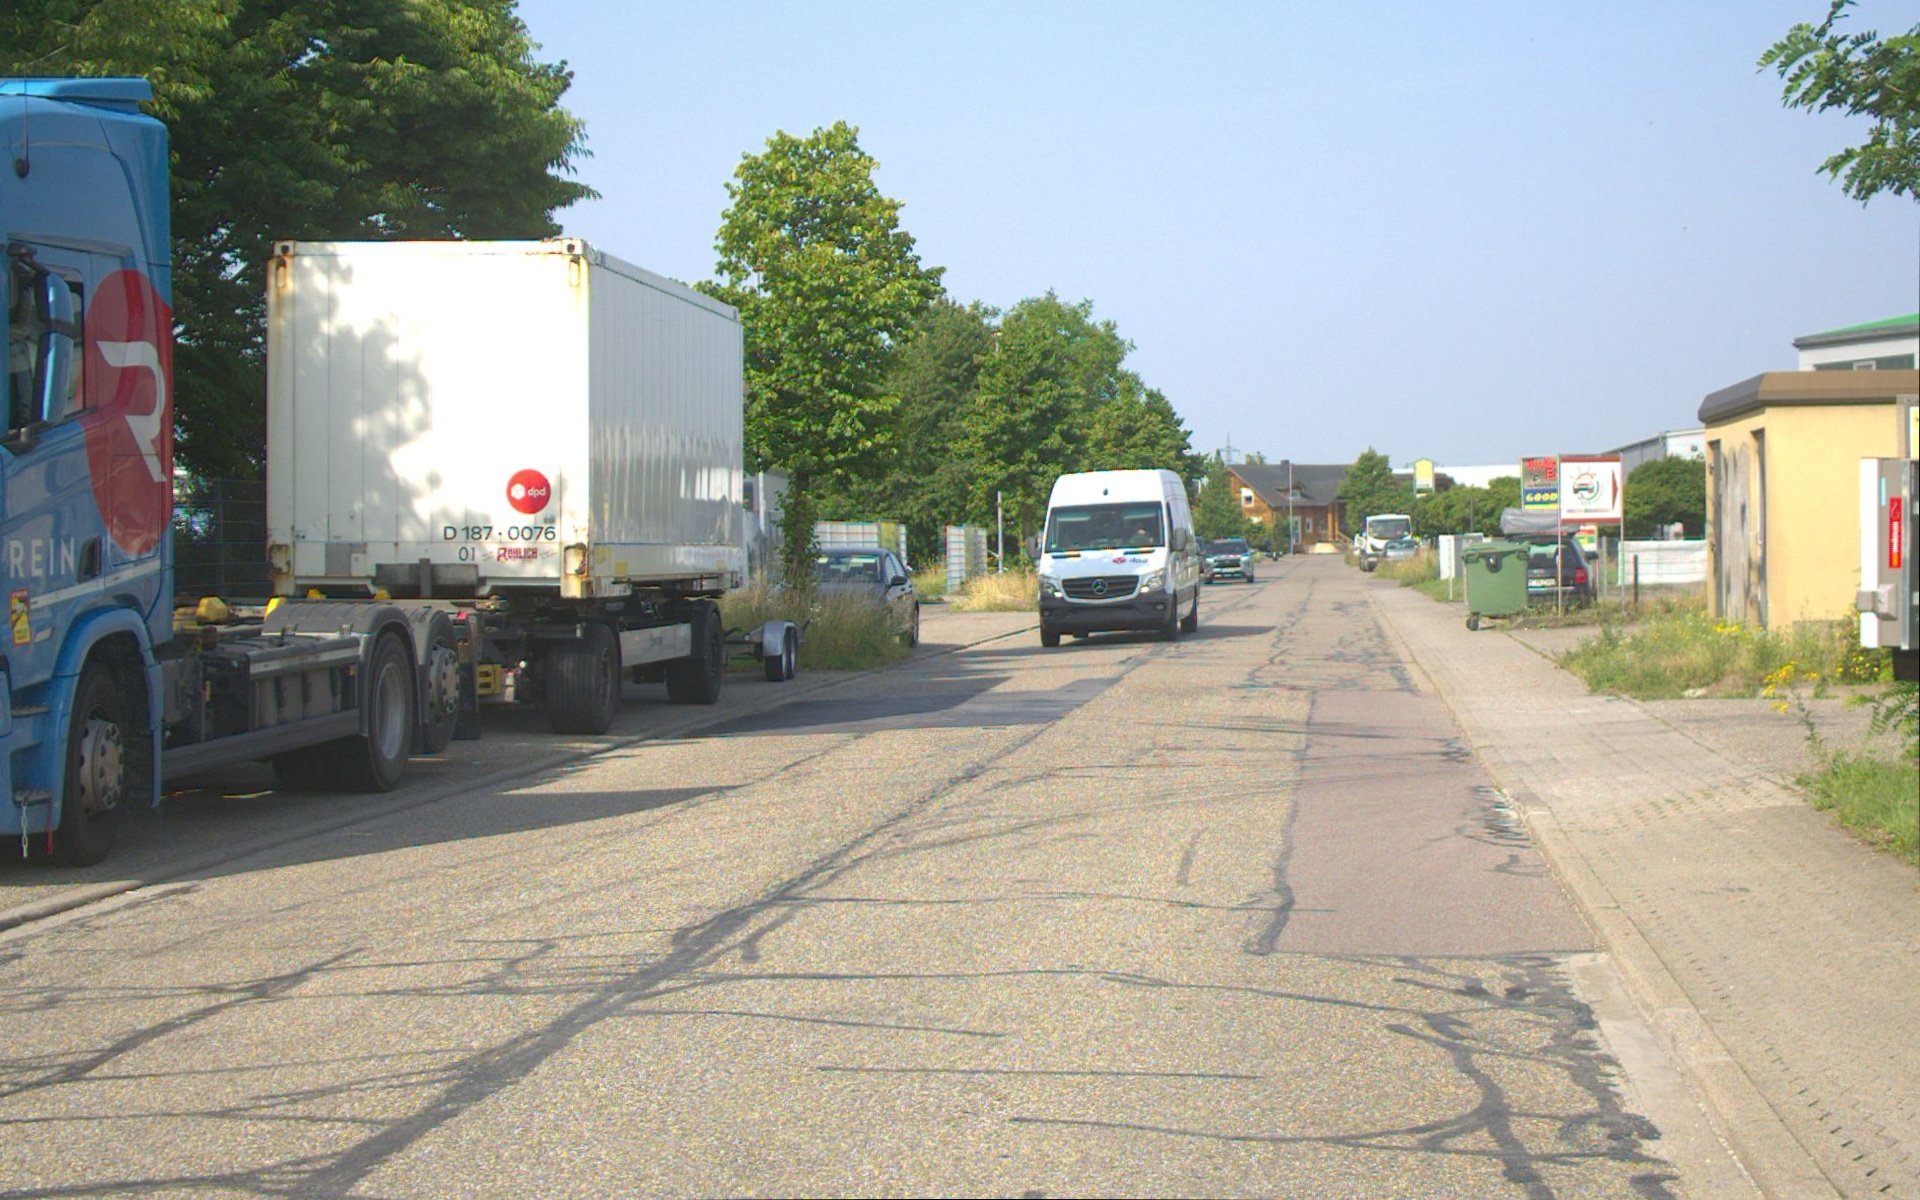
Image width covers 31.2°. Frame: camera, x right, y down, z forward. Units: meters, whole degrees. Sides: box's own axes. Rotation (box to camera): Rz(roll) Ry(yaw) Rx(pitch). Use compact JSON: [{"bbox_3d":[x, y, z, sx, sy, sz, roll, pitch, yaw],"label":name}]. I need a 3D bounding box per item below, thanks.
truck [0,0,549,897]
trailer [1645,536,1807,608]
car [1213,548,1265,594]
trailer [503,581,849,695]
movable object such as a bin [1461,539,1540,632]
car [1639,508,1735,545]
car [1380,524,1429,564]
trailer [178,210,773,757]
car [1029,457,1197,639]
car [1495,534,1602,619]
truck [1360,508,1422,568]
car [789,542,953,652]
[{"bbox_3d":[-4.843,-0.752,19.745,2.714,3.871,9.633,1,1,7],"label":"truck"},{"bbox_3d":[13.727,-0.517,61.727,1.489,1.244,2.978,0,1,-19],"label":"trailer"},{"bbox_3d":[10.369,-1.089,127.475,1.812,1.621,4.248,-1,1,6],"label":"car"},{"bbox_3d":[-2.933,0.361,37.328,2.649,0.982,6.242,-1,1,6],"label":"trailer"},{"bbox_3d":[8.317,-0.233,52.976,1.081,1.348,1.505,-3,1,7],"label":"movable object such as a bin"},{"bbox_3d":[32.661,-3.326,154.441,4.520,1.583,1.687,-2,2,-38],"label":"car"},{"bbox_3d":[17.631,-2.249,136.598,1.794,1.512,4.423,-1,1,6],"label":"car"},{"bbox_3d":[-3.736,-0.923,29.353,2.700,3.871,9.763,1,1,6],"label":"trailer"},{"bbox_3d":[2.416,-0.812,52.380,1.994,2.538,6.988,-2,1,7],"label":"car"},{"bbox_3d":[10.086,-0.431,58.736,1.674,1.364,4.391,-1,1,11],"label":"car"},{"bbox_3d":[20.068,-2.912,160.359,2.359,2.672,6.511,-1,1,3],"label":"truck"},{"bbox_3d":[-1.215,-0.075,48.735,1.688,1.465,4.092,-1,1,8],"label":"car"}]
